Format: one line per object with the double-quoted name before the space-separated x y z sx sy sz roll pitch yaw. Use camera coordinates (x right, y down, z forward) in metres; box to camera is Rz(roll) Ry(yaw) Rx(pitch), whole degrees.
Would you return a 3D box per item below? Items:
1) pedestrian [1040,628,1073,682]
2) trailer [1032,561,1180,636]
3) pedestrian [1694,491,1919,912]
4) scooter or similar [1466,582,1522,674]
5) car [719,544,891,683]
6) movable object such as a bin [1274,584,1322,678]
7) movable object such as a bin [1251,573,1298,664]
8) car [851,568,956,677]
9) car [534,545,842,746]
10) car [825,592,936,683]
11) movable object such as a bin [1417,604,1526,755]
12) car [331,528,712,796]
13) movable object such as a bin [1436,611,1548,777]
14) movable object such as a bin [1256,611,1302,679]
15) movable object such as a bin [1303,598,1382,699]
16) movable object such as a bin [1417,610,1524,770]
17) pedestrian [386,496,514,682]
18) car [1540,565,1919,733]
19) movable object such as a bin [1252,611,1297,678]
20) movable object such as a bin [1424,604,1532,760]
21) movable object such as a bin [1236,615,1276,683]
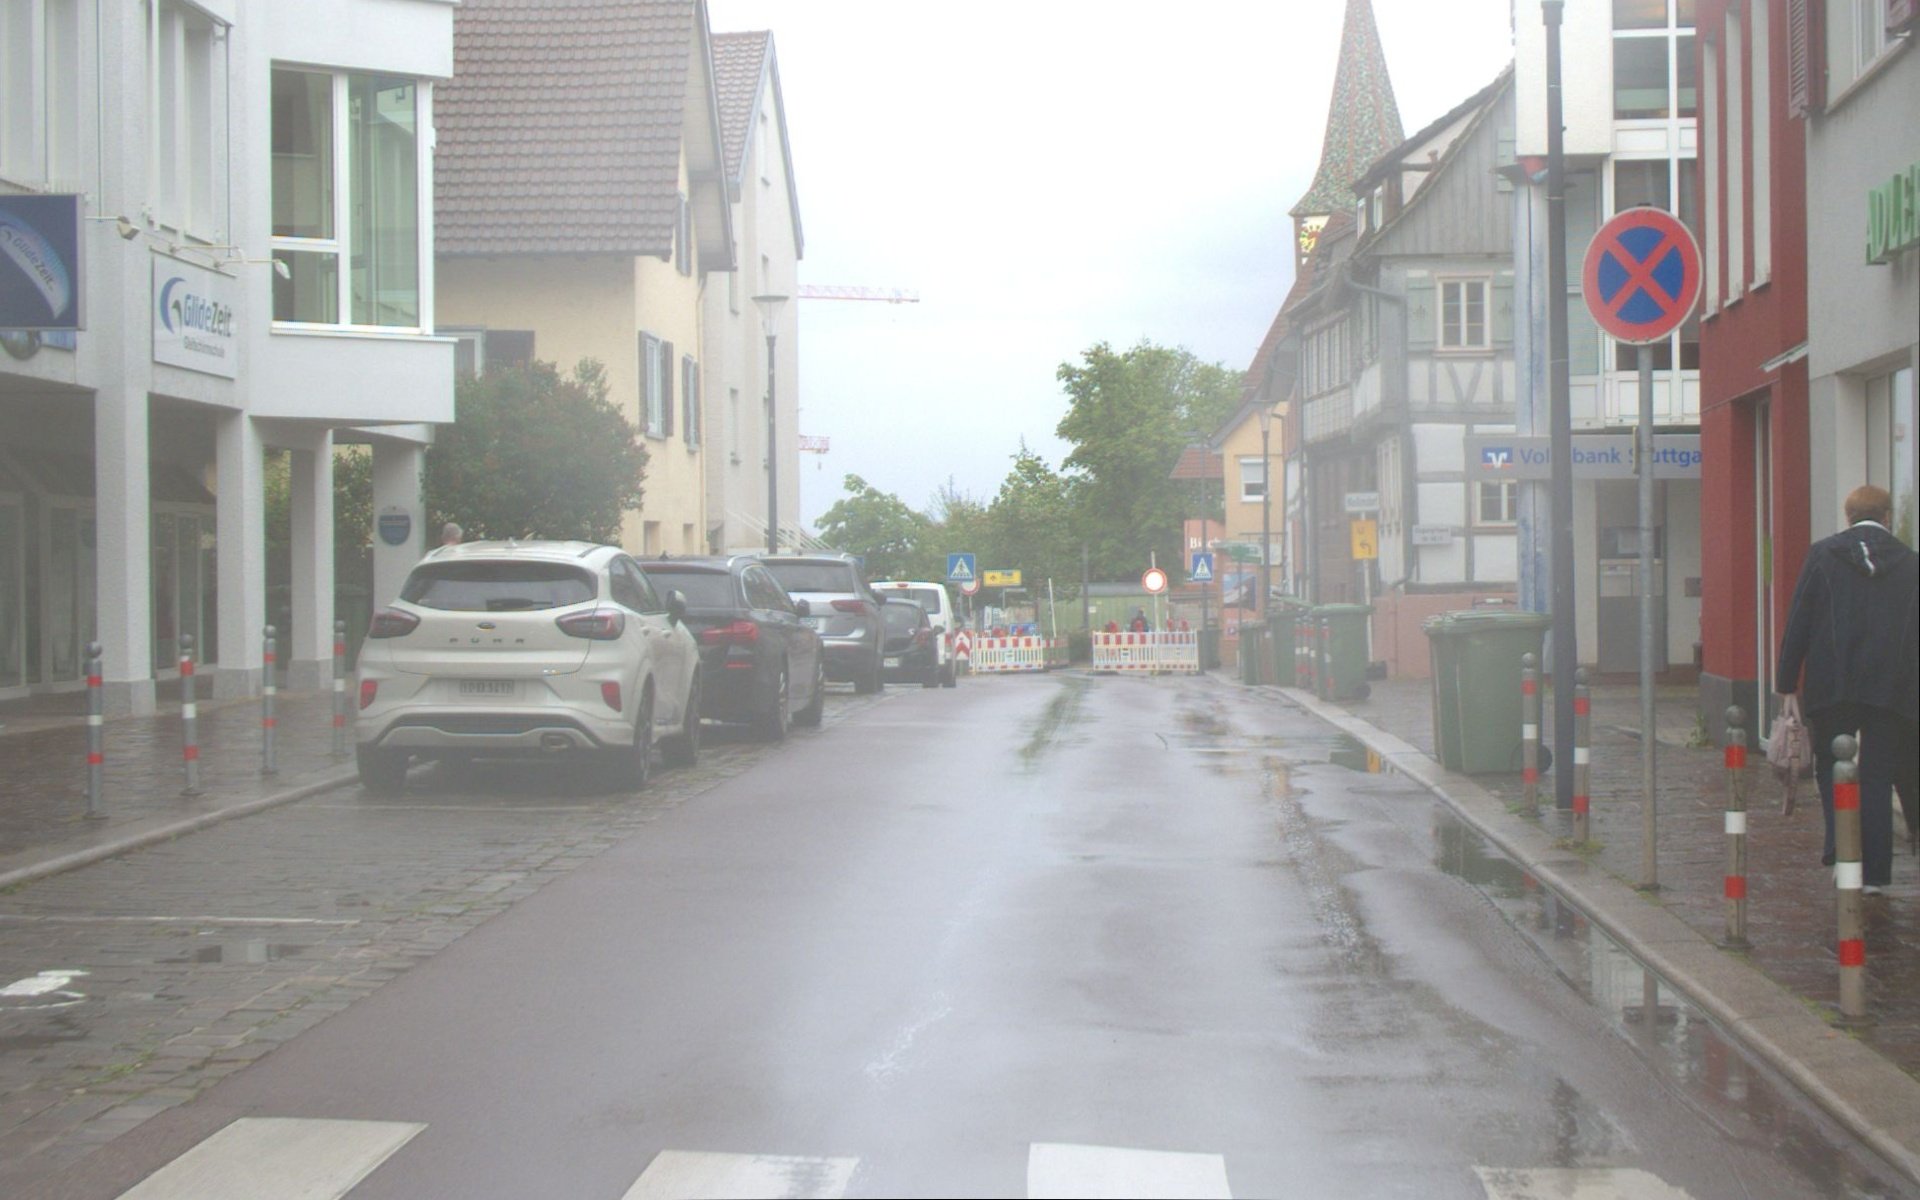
"pedestrian" 3.158 1.815 112.619 0.990 1.753 0.852 0 -1 -3
"trailer" 5.810 -0.044 137.406 5.780 2.938 2.000 0 -1 -2
"pedestrian" 3.847 0.401 14.566 1.177 1.692 1.177 -2 0 0
"scooter or similar" 6.737 0.364 43.335 0.665 1.142 1.445 0 -1 10
"car" -1.787 0.192 40.900 1.780 1.563 4.407 0 -1 1
"movable object such as a bin" 4.670 0.427 47.507 0.638 1.286 0.632 0 -1 8
"movable object such as a bin" 4.482 0.262 48.927 0.638 1.286 0.632 0 -1 8
"car" -0.960 0.421 60.031 1.723 1.819 4.428 0 -1 0
"car" -2.150 0.328 28.456 1.831 1.493 4.763 -1 0 4
"car" -1.233 0.608 54.089 1.681 1.384 3.825 0 -1 -1
"movable object such as a bin" 3.713 0.572 24.987 0.729 1.077 0.646 0 0 4
"car" -2.734 0.322 22.285 1.791 1.545 4.000 1 1 2
"movable object such as a bin" 3.532 0.618 22.851 0.676 1.082 0.718 0 0 4
"movable object such as a bin" 5.166 0.734 55.680 0.678 1.093 0.650 0 -1 -1
"movable object such as a bin" 4.282 0.546 38.563 0.804 1.127 0.862 0 -1 1
"movable object such as a bin" 3.498 0.613 23.601 0.676 1.080 0.698 0 0 4
"pedestrian" -5.034 -0.114 33.994 1.035 1.800 1.116 0 0 3
"car" 7.797 0.485 33.717 3.989 1.509 1.910 -2 -2 14
"movable object such as a bin" 5.194 0.734 56.850 0.669 1.078 0.588 -1 -2 1
"movable object such as a bin" 3.661 0.572 24.329 0.710 1.091 0.614 0 0 4
"movable object such as a bin" 5.022 0.839 58.287 0.638 1.143 0.603 0 -1 8
